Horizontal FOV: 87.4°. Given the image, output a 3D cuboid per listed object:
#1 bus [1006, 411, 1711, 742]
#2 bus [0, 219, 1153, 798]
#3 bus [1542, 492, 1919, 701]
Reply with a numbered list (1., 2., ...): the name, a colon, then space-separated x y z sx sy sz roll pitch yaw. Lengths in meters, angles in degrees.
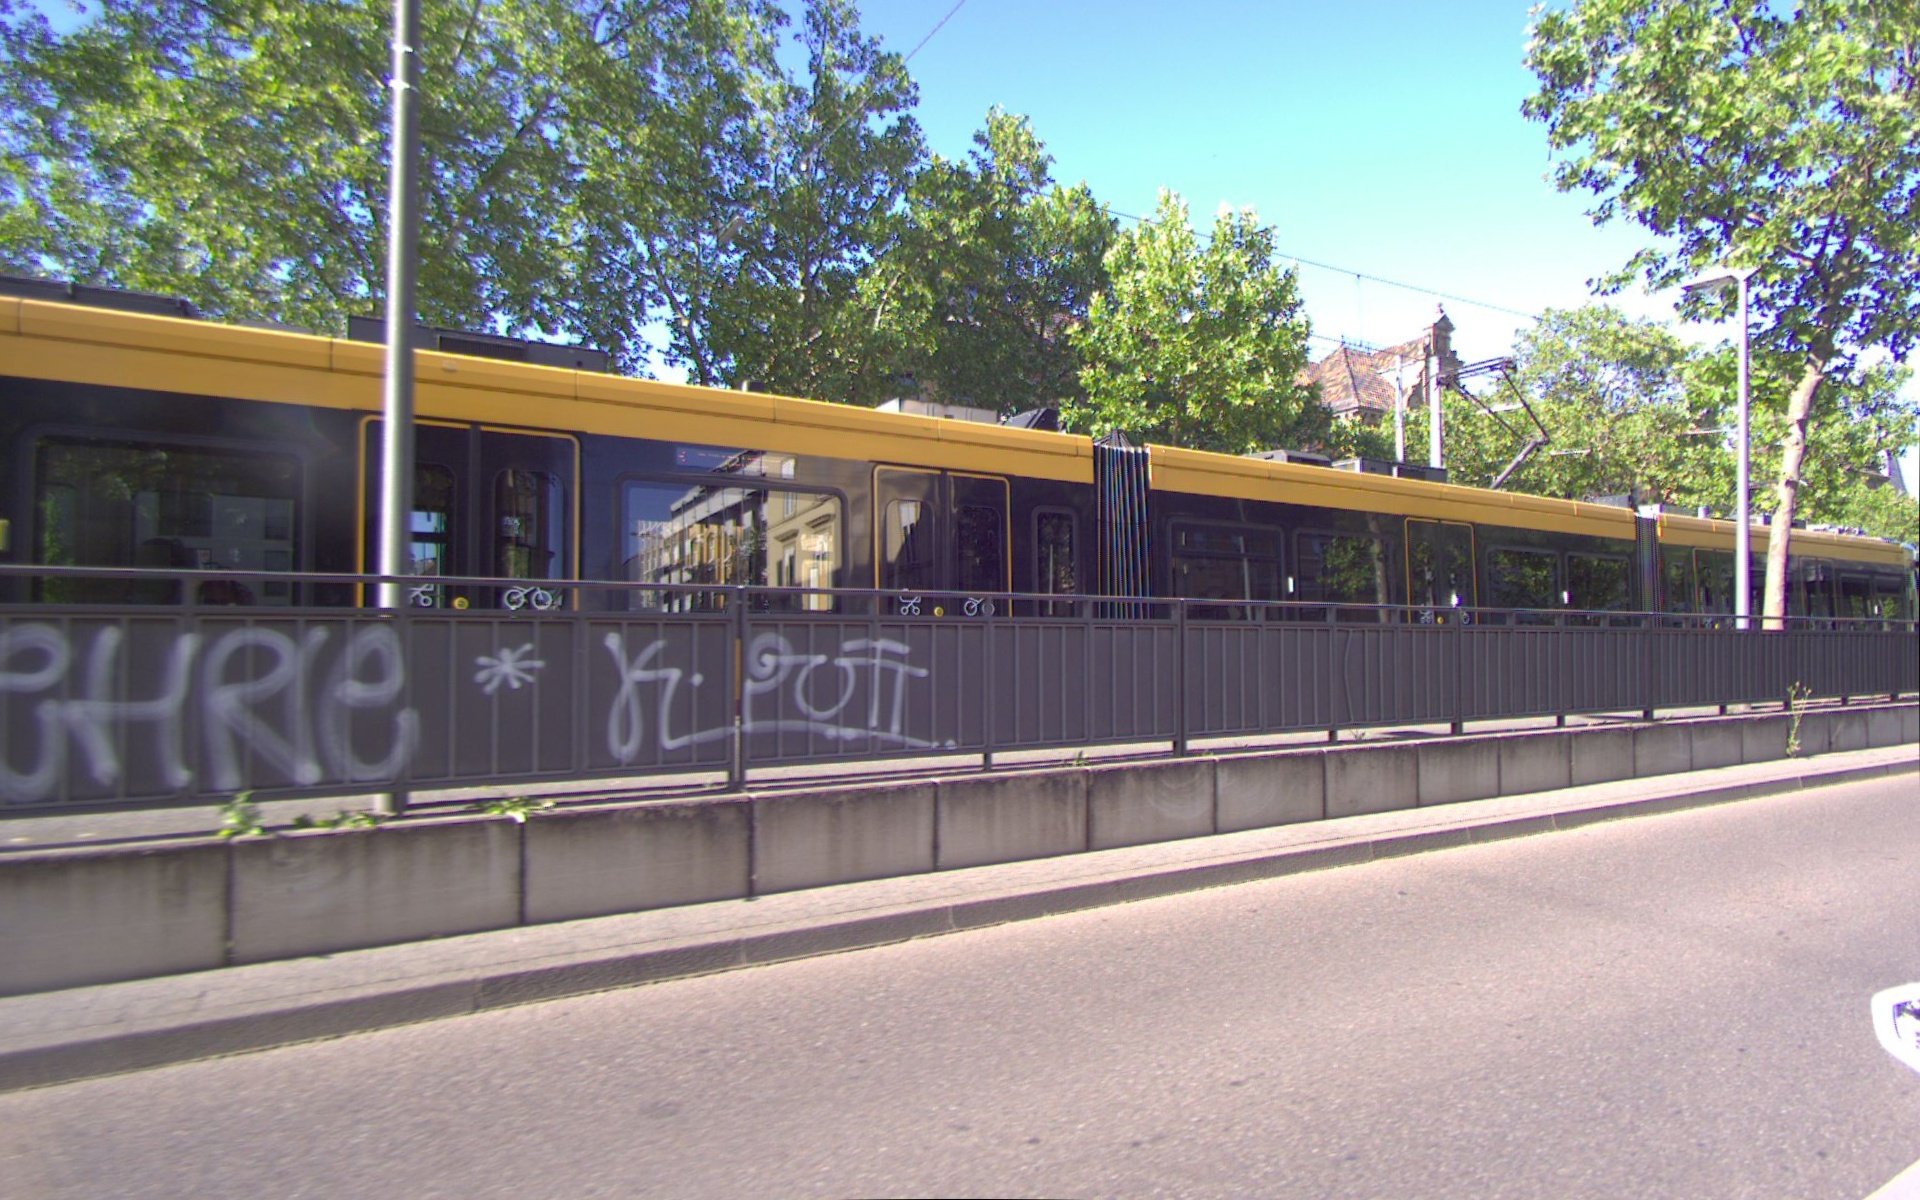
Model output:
1. bus: 6.533 -0.112 14.868 12.069 3.489 2.856 1 -1 -30
2. bus: -4.326 -0.486 8.552 13.059 3.489 2.856 1 -1 -30
3. bus: 16.786 0.075 20.830 11.472 3.489 2.856 1 -1 -30
